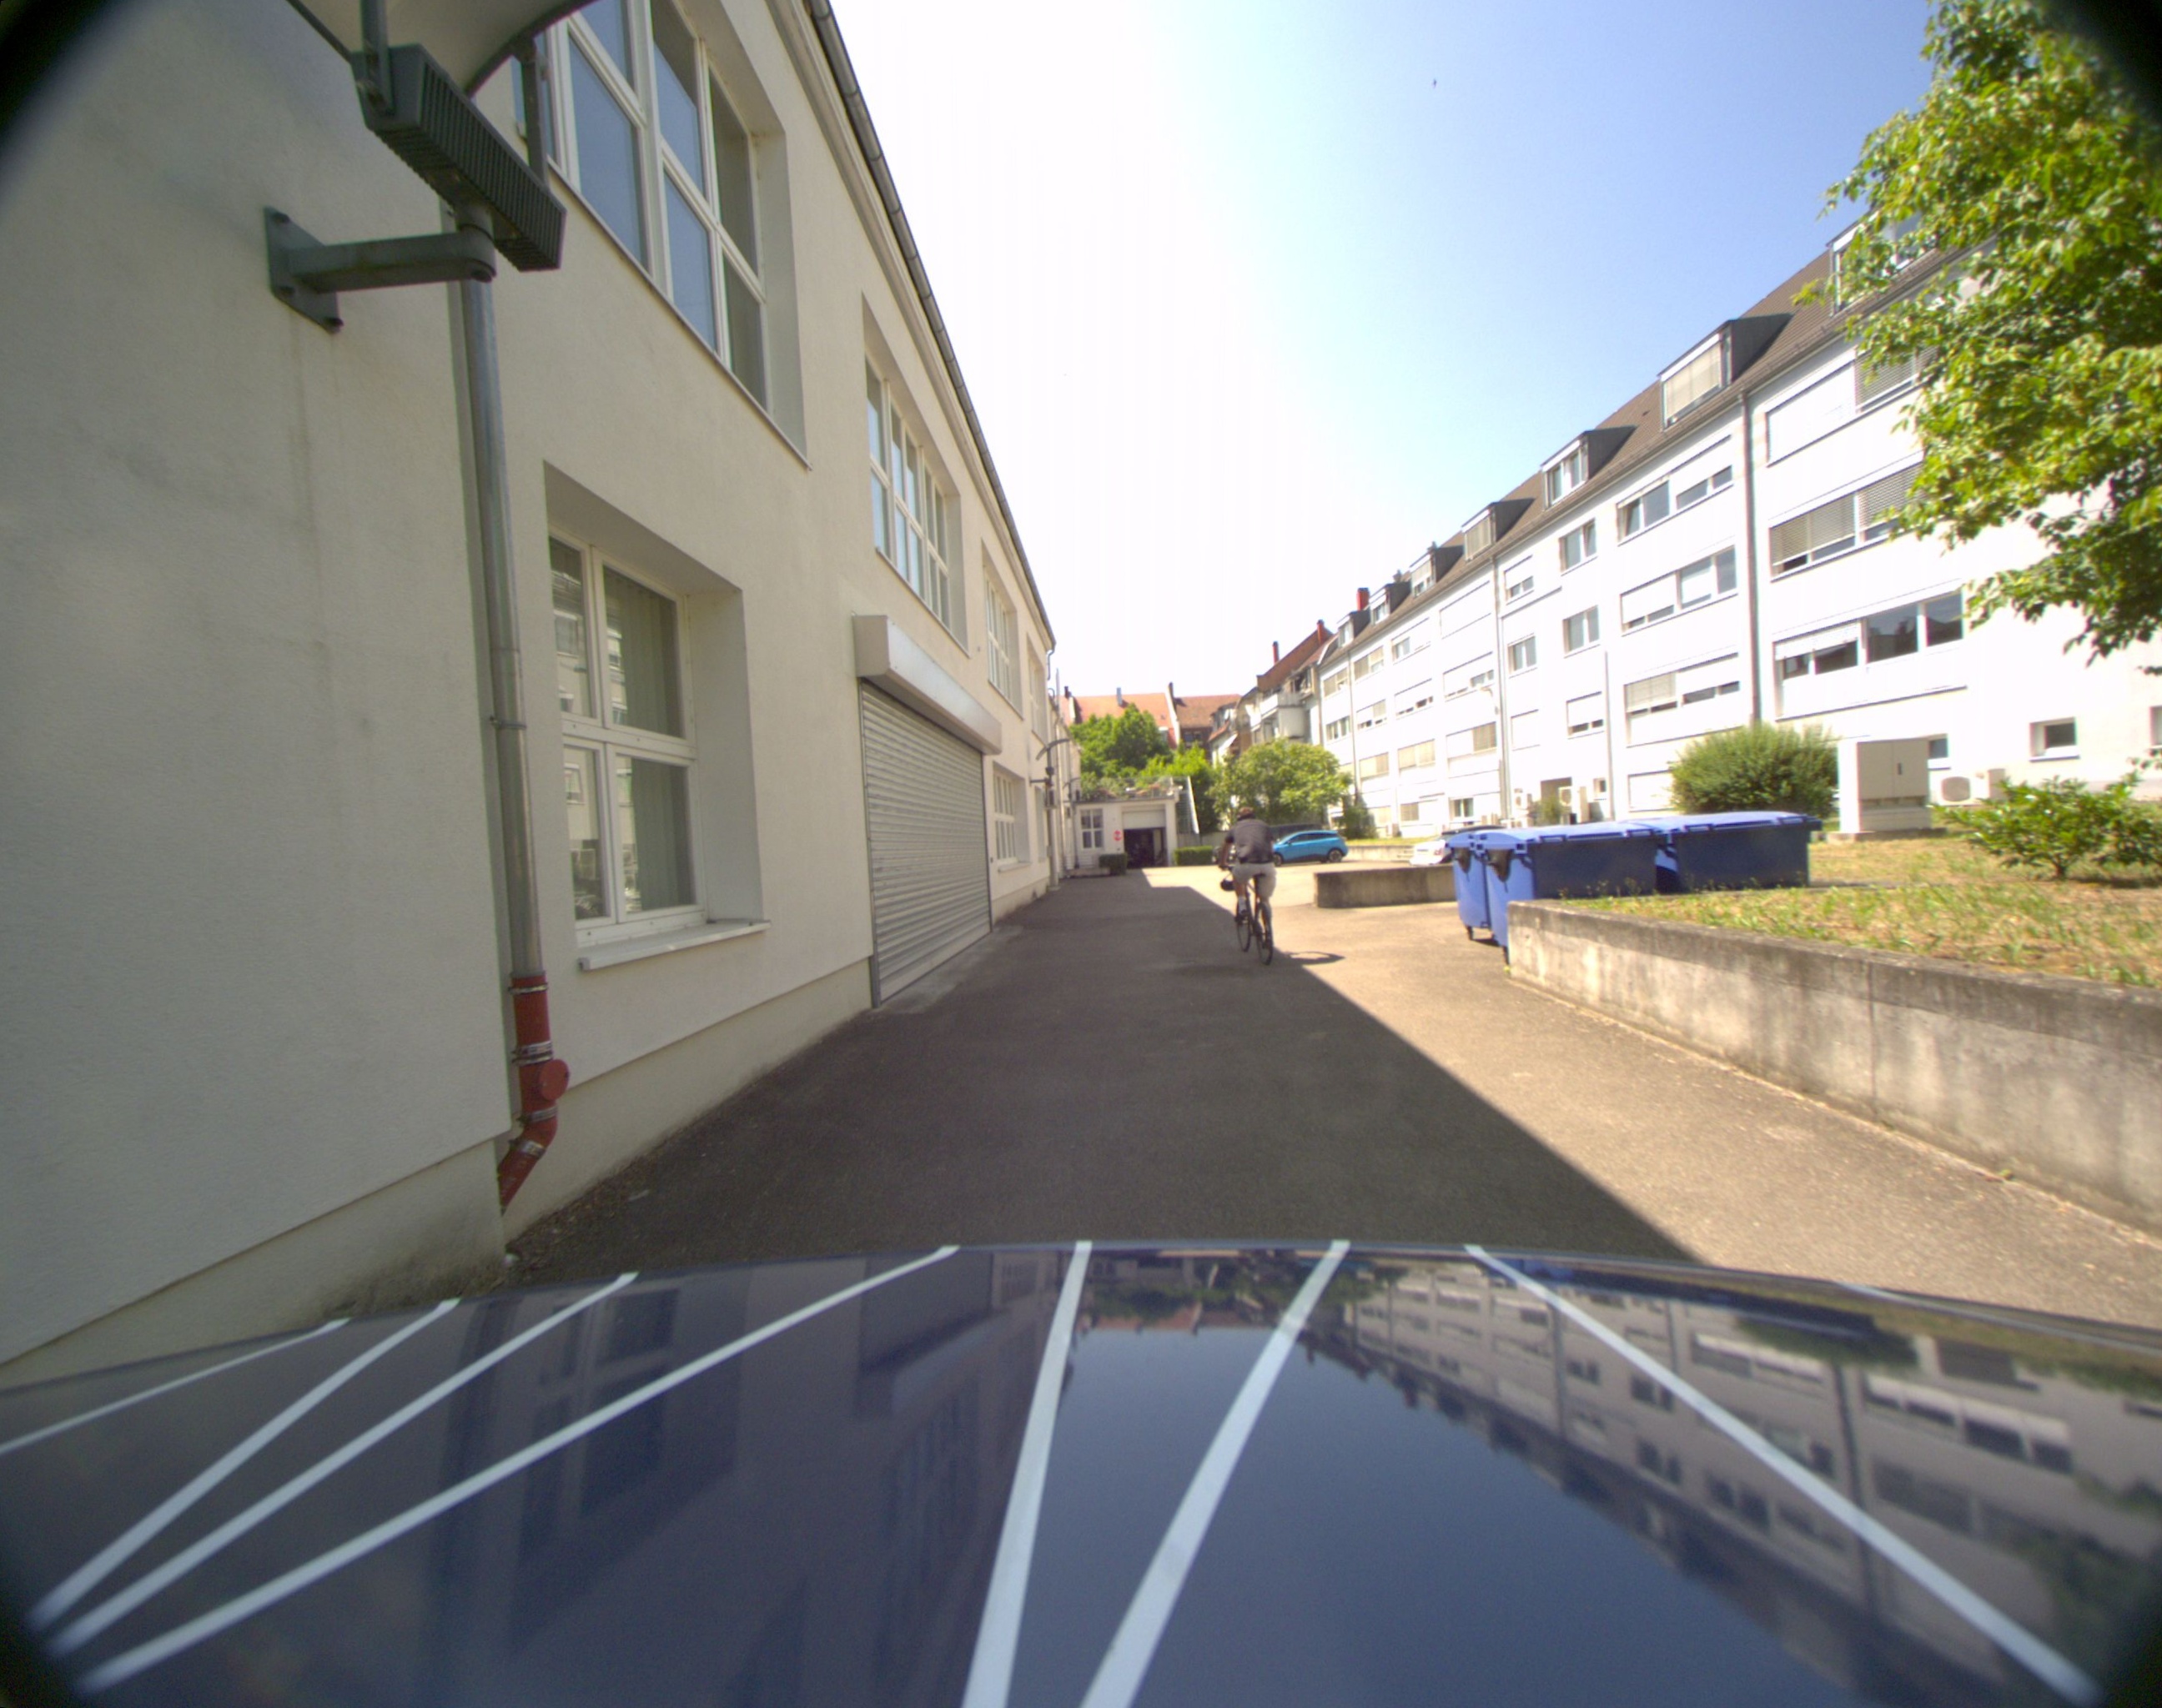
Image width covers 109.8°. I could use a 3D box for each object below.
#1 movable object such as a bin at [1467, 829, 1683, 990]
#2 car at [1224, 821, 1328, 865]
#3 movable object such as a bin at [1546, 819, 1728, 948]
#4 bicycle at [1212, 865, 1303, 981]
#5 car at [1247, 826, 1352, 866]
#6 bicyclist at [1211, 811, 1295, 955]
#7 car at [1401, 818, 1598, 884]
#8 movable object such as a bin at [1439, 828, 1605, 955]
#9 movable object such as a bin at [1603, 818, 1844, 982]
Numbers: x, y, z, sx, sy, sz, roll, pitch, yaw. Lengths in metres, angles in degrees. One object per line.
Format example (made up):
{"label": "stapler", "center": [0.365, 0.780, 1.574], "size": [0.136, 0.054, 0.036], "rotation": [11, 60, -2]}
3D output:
{"label": "movable object such as a bin", "center": [4.525, 0.473, 7.083], "size": [1.257, 1.320, 1.104], "rotation": [-4, 1, 4]}
{"label": "car", "center": [9.442, -0.555, 37.075], "size": [4.448, 1.822, 1.999], "rotation": [-4, 2, 1]}
{"label": "movable object such as a bin", "center": [6.371, 0.315, 8.800], "size": [1.257, 1.320, 1.104], "rotation": [-4, 1, 4]}
{"label": "bicycle", "center": [2.081, 0.760, 9.201], "size": [0.645, 1.167, 1.904], "rotation": [-4, 1, 1]}
{"label": "car", "center": [9.840, -0.373, 34.452], "size": [4.167, 1.545, 1.859], "rotation": [-3, 1, -1]}
{"label": "bicyclist", "center": [2.042, 0.319, 9.131], "size": [0.724, 1.600, 0.978], "rotation": [-4, 2, 2]}
{"label": "car", "center": [10.469, -0.086, 19.204], "size": [3.997, 1.428, 1.711], "rotation": [-2, 1, 0]}
{"label": "movable object such as a bin", "center": [5.061, 0.402, 8.834], "size": [1.257, 1.320, 1.104], "rotation": [-4, 1, 4]}
{"label": "movable object such as a bin", "center": [5.843, 0.387, 7.018], "size": [1.257, 1.320, 1.104], "rotation": [-4, 1, 4]}
